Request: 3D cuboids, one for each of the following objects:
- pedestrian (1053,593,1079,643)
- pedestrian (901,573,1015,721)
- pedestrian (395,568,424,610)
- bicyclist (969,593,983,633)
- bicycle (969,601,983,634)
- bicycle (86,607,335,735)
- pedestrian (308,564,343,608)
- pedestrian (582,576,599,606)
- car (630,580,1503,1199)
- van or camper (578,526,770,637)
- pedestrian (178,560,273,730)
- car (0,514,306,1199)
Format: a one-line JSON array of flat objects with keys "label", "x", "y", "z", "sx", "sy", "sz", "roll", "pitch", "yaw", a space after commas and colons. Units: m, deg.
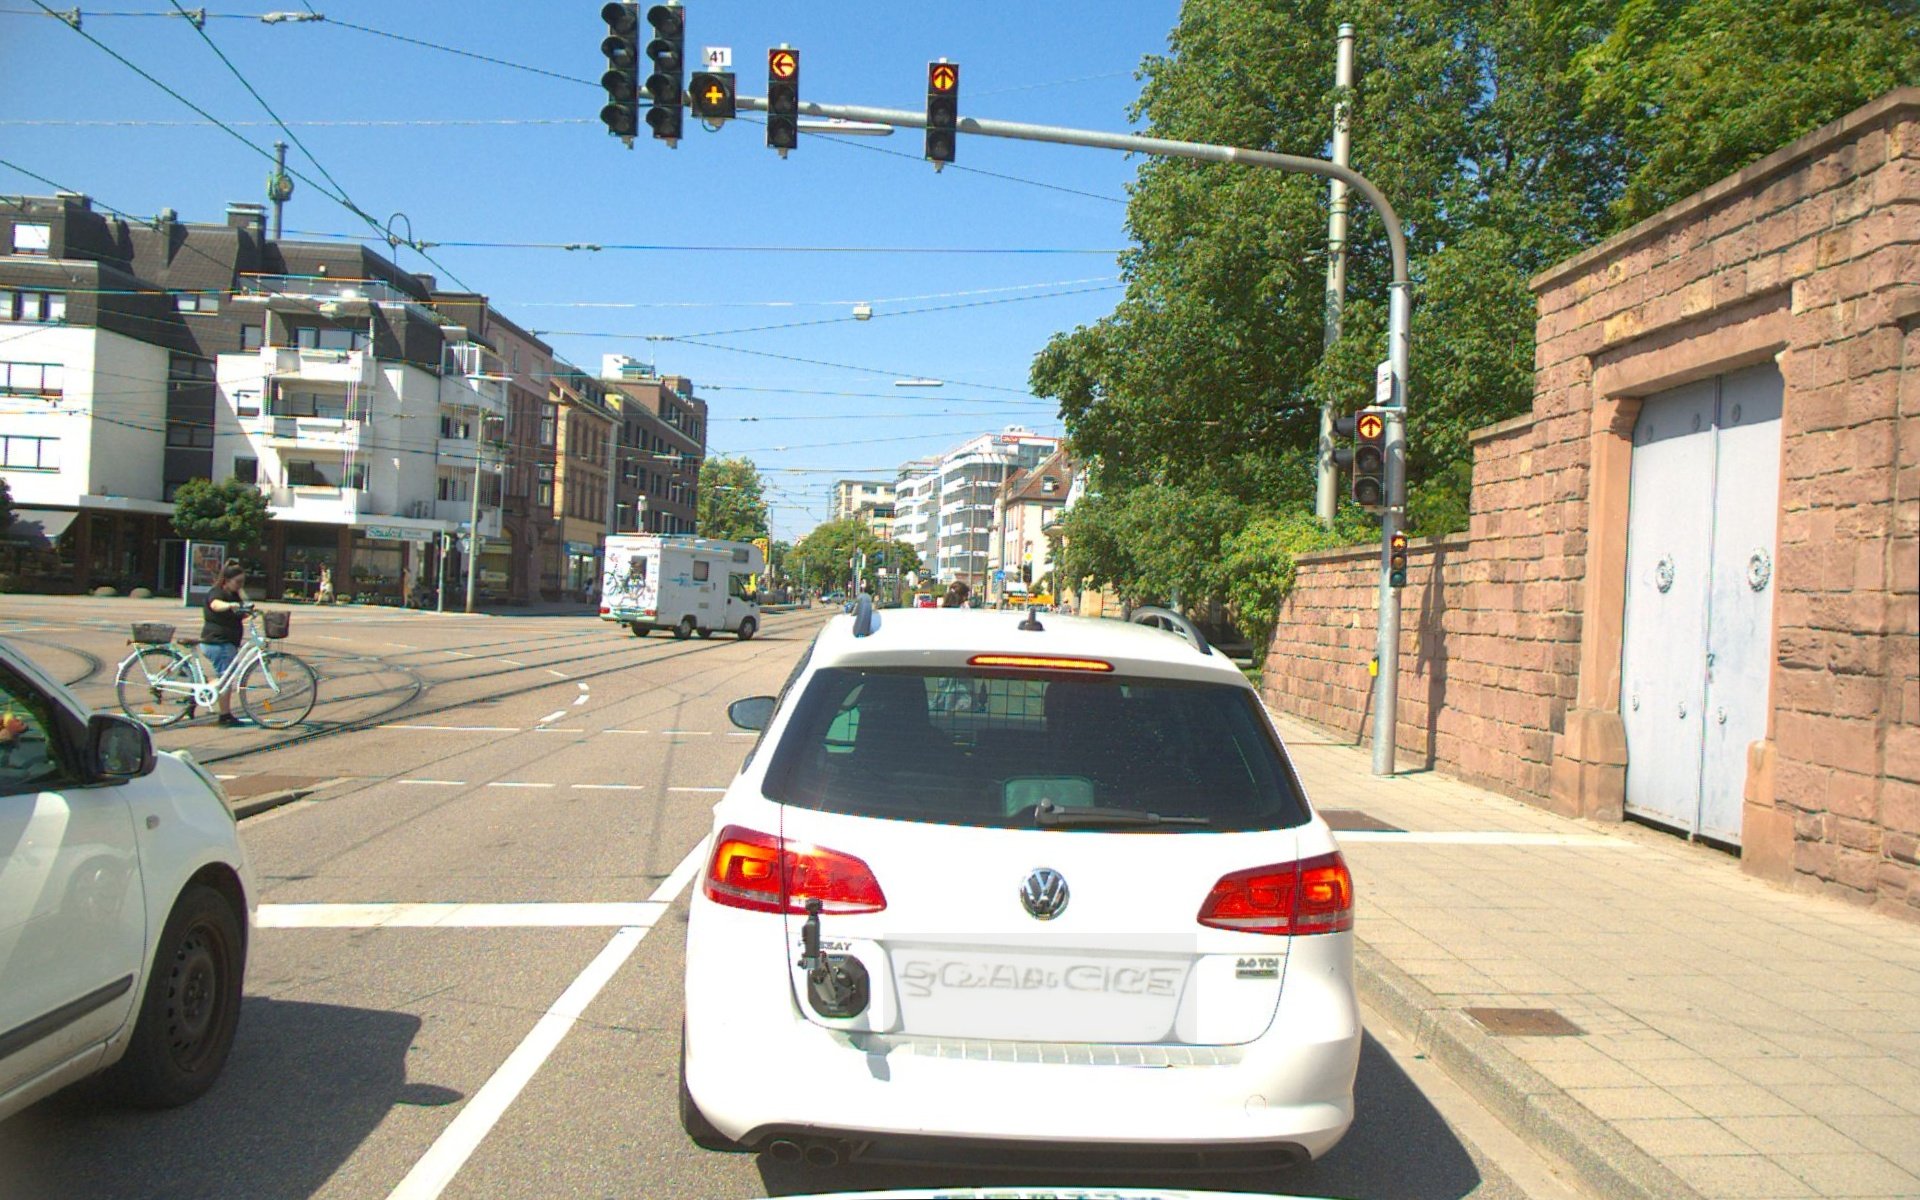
[{"label": "pedestrian", "x": 3.791, "y": 0.631, "z": 59.246, "sx": 0.843, "sy": 1.773, "sz": 0.975, "roll": 0, "pitch": -1, "yaw": 8}, {"label": "pedestrian", "x": -0.019, "y": 0.540, "z": 19.435, "sx": 0.939, "sy": 1.680, "sz": 0.968, "roll": -1, "pitch": -1, "yaw": 43}, {"label": "pedestrian", "x": -23.405, "y": -0.458, "z": 70.294, "sx": 0.963, "sy": 1.773, "sz": 0.855, "roll": 1, "pitch": -1, "yaw": -33}, {"label": "bicyclist", "x": 0.649, "y": 0.551, "z": 67.963, "sx": 0.549, "sy": 1.641, "sz": 0.638, "roll": 0, "pitch": -1, "yaw": 0}, {"label": "bicycle", "x": 0.653, "y": 0.719, "z": 67.970, "sx": 0.547, "sy": 1.320, "sz": 2.249, "roll": 0, "pitch": -1, "yaw": -1}, {"label": "bicycle", "x": -6.953, "y": 0.660, "z": 15.439, "sx": 1.986, "sy": 1.109, "sz": 0.707, "roll": 2, "pitch": 0, "yaw": -16}, {"label": "pedestrian", "x": -25.504, "y": -0.554, "z": 66.463, "sx": 0.846, "sy": 1.773, "sz": 0.972, "roll": 0, "pitch": -1, "yaw": 34}, {"label": "pedestrian", "x": -21.916, "y": -0.513, "z": 98.010, "sx": 0.845, "sy": 1.773, "sz": 0.973, "roll": 1, "pitch": -1, "yaw": -6}, {"label": "car", "x": 0.187, "y": 0.715, "z": 5.417, "sx": 1.771, "sy": 1.473, "sz": 3.999, "roll": 2, "pitch": 0, "yaw": -1}, {"label": "van or camper", "x": -8.498, "y": -0.479, "z": 49.728, "sx": 2.521, "sy": 3.147, "sz": 5.686, "roll": 0, "pitch": -1, "yaw": 33}, {"label": "pedestrian", "x": -7.085, "y": 0.421, "z": 15.982, "sx": 0.733, "sy": 1.599, "sz": 0.672, "roll": 1, "pitch": 1, "yaw": -16}, {"label": "car", "x": -2.843, "y": 0.609, "z": 3.311, "sx": 1.608, "sy": 1.593, "sz": 3.803, "roll": 1, "pitch": 1, "yaw": -1}]
